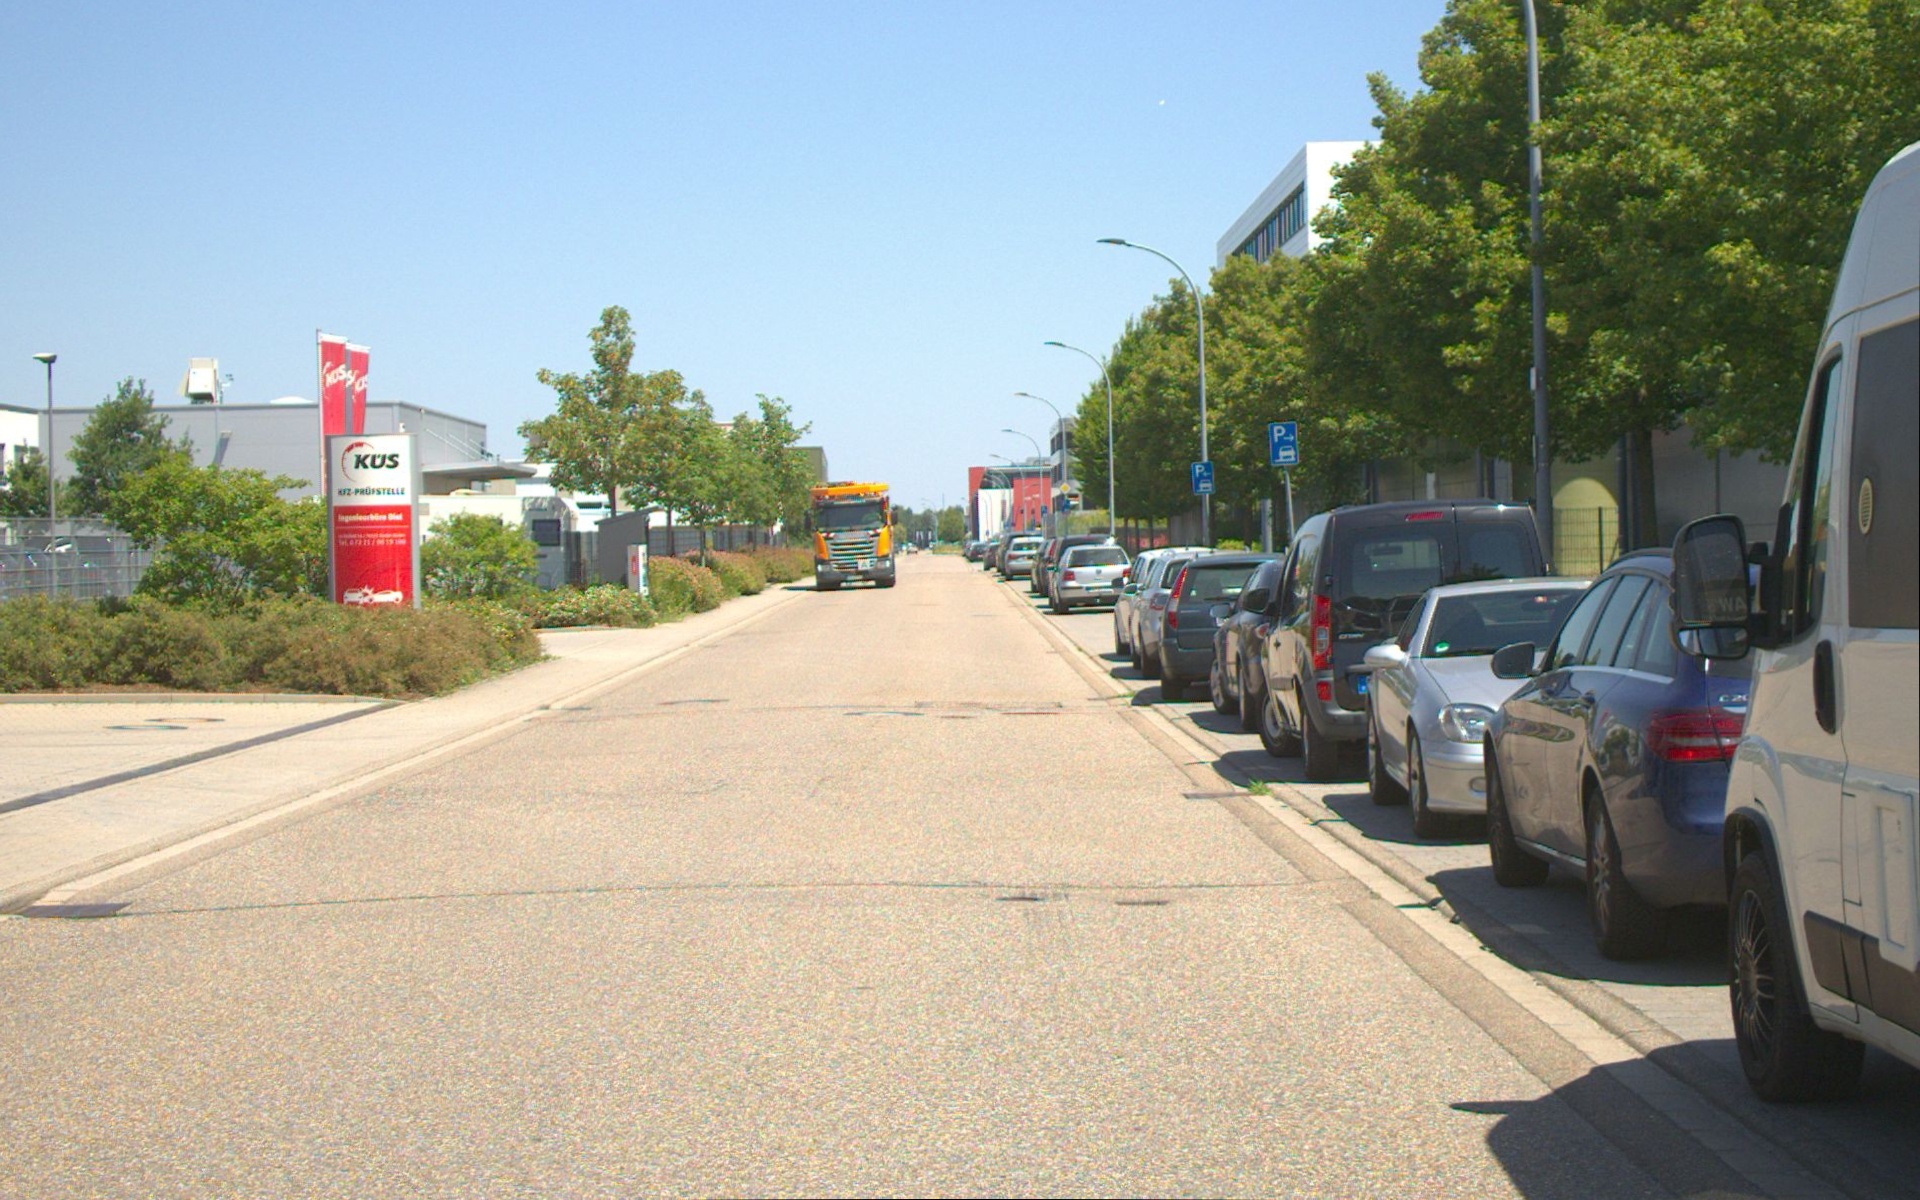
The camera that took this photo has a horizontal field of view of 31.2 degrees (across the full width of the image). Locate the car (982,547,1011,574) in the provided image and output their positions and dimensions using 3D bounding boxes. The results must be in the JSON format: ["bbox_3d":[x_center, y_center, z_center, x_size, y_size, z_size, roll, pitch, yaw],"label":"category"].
[{"bbox_3d":[1.956,-2.135,184.873,1.495,1.405,3.500,-1,1,0],"label":"car"}]

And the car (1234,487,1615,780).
[{"bbox_3d":[3.134,0.192,24.077,1.993,1.819,4.354,-2,1,-1],"label":"car"}]

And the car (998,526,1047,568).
[{"bbox_3d":[2.165,-1.873,120.303,1.585,1.405,3.500,-1,1,0],"label":"car"}]

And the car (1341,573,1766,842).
[{"bbox_3d":[3.158,0.525,19.033,1.711,1.283,4.115,-1,0,2],"label":"car"}]

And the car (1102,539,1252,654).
[{"bbox_3d":[2.985,-0.081,47.939,1.636,1.464,3.746,-2,1,-3],"label":"car"}]

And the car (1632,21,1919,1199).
[{"bbox_3d":[3.075,0.061,7.116,2.267,2.489,6.152,-2,1,2],"label":"car"}]

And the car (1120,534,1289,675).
[{"bbox_3d":[2.961,0.014,42.357,1.748,1.556,4.506,-2,1,0],"label":"car"}]

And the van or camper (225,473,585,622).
[{"bbox_3d":[-12.070,-1.155,75.288,7.384,3.027,2.790,-1,1,-1],"label":"van or camper"}]

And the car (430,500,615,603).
[{"bbox_3d":[-11.632,-1.299,91.608,4.714,2.577,2.000,-1,1,-4],"label":"car"}]

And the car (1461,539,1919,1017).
[{"bbox_3d":[3.164,0.547,13.506,1.828,1.488,4.478,-2,1,2],"label":"car"}]

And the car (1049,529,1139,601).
[{"bbox_3d":[2.829,-0.756,73.276,1.718,1.445,3.646,-2,1,0],"label":"car"}]

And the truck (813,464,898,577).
[{"bbox_3d":[-3.393,-2.628,113.017,2.448,3.501,8.273,-2,1,0],"label":"truck"}]

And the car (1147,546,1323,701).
[{"bbox_3d":[2.929,0.205,36.603,1.709,1.499,4.705,-1,1,5],"label":"car"}]

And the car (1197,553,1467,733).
[{"bbox_3d":[3.213,0.330,30.578,1.850,1.426,4.713,-2,1,0],"label":"car"}]

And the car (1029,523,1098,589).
[{"bbox_3d":[2.730,-1.190,91.275,1.722,1.688,3.984,-1,1,1],"label":"car"}]

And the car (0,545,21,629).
[{"bbox_3d":[-22.634,-0.240,74.514,3.987,1.809,1.917,-1,1,-1],"label":"car"}]
